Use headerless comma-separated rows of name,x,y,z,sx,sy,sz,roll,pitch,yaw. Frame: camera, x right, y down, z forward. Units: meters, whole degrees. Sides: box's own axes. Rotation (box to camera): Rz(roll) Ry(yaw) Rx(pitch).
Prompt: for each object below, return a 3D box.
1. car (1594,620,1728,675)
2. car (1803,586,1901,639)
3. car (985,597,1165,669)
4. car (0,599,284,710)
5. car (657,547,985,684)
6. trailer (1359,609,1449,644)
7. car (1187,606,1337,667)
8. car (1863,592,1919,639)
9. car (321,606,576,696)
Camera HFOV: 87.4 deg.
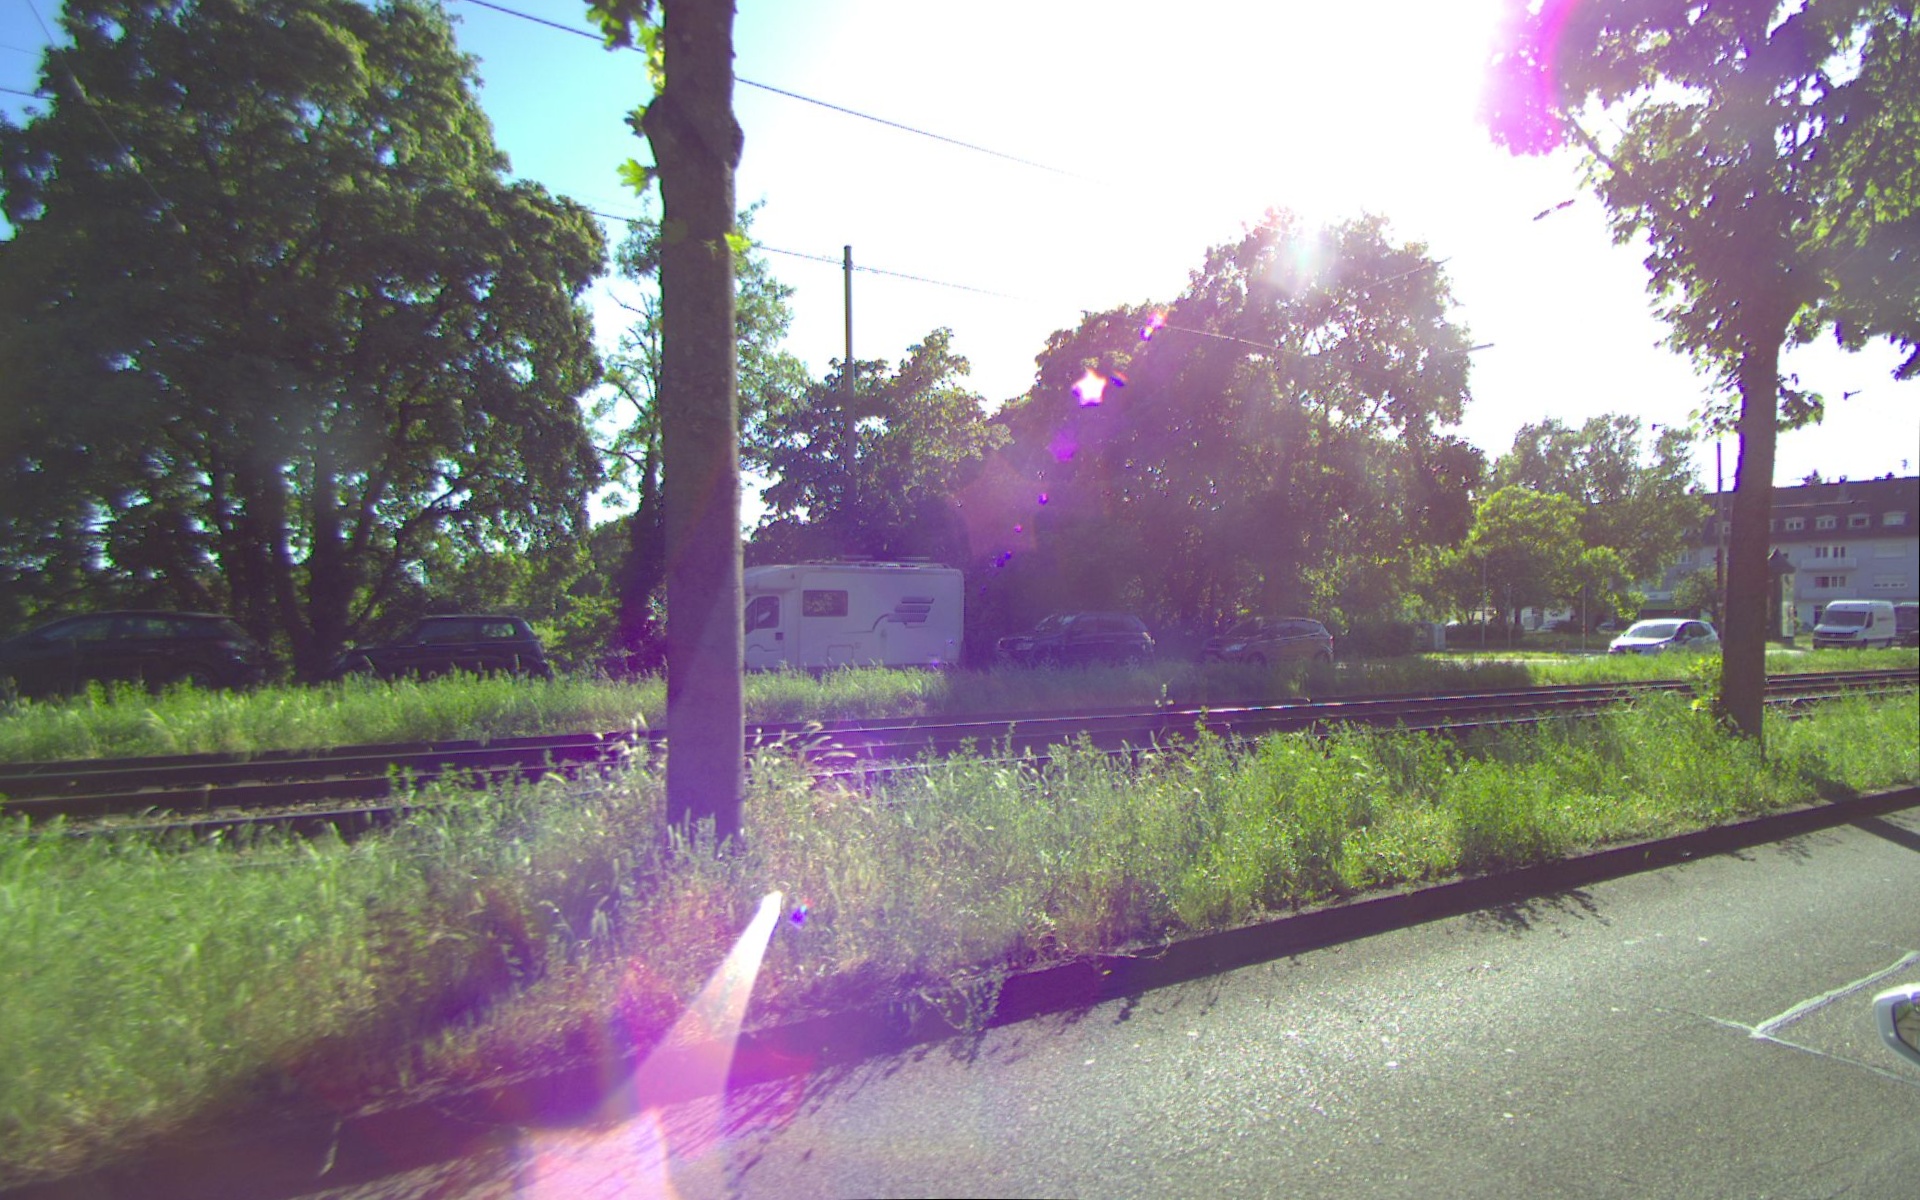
car,21.954,1.444,31.428,4.389,1.548,1.719,1,1,-30
car,45.356,0.632,51.043,6.067,2.530,1.991,1,1,-31
car,2.949,0.809,25.423,4.481,1.644,1.614,1,1,-31
car,-13.402,0.820,15.960,4.229,1.584,1.760,1,0,-29
car,-2.894,0.284,21.773,6.719,2.615,2.214,0,1,-31
trailer,21.817,1.276,49.403,3.703,1.524,1.745,2,1,40
car,8.679,1.020,28.804,4.196,1.606,1.667,1,1,-29
car,51.854,0.835,54.660,6.389,2.408,2.172,1,1,-31
car,-9.215,0.879,18.280,3.952,1.454,1.703,1,1,-30
